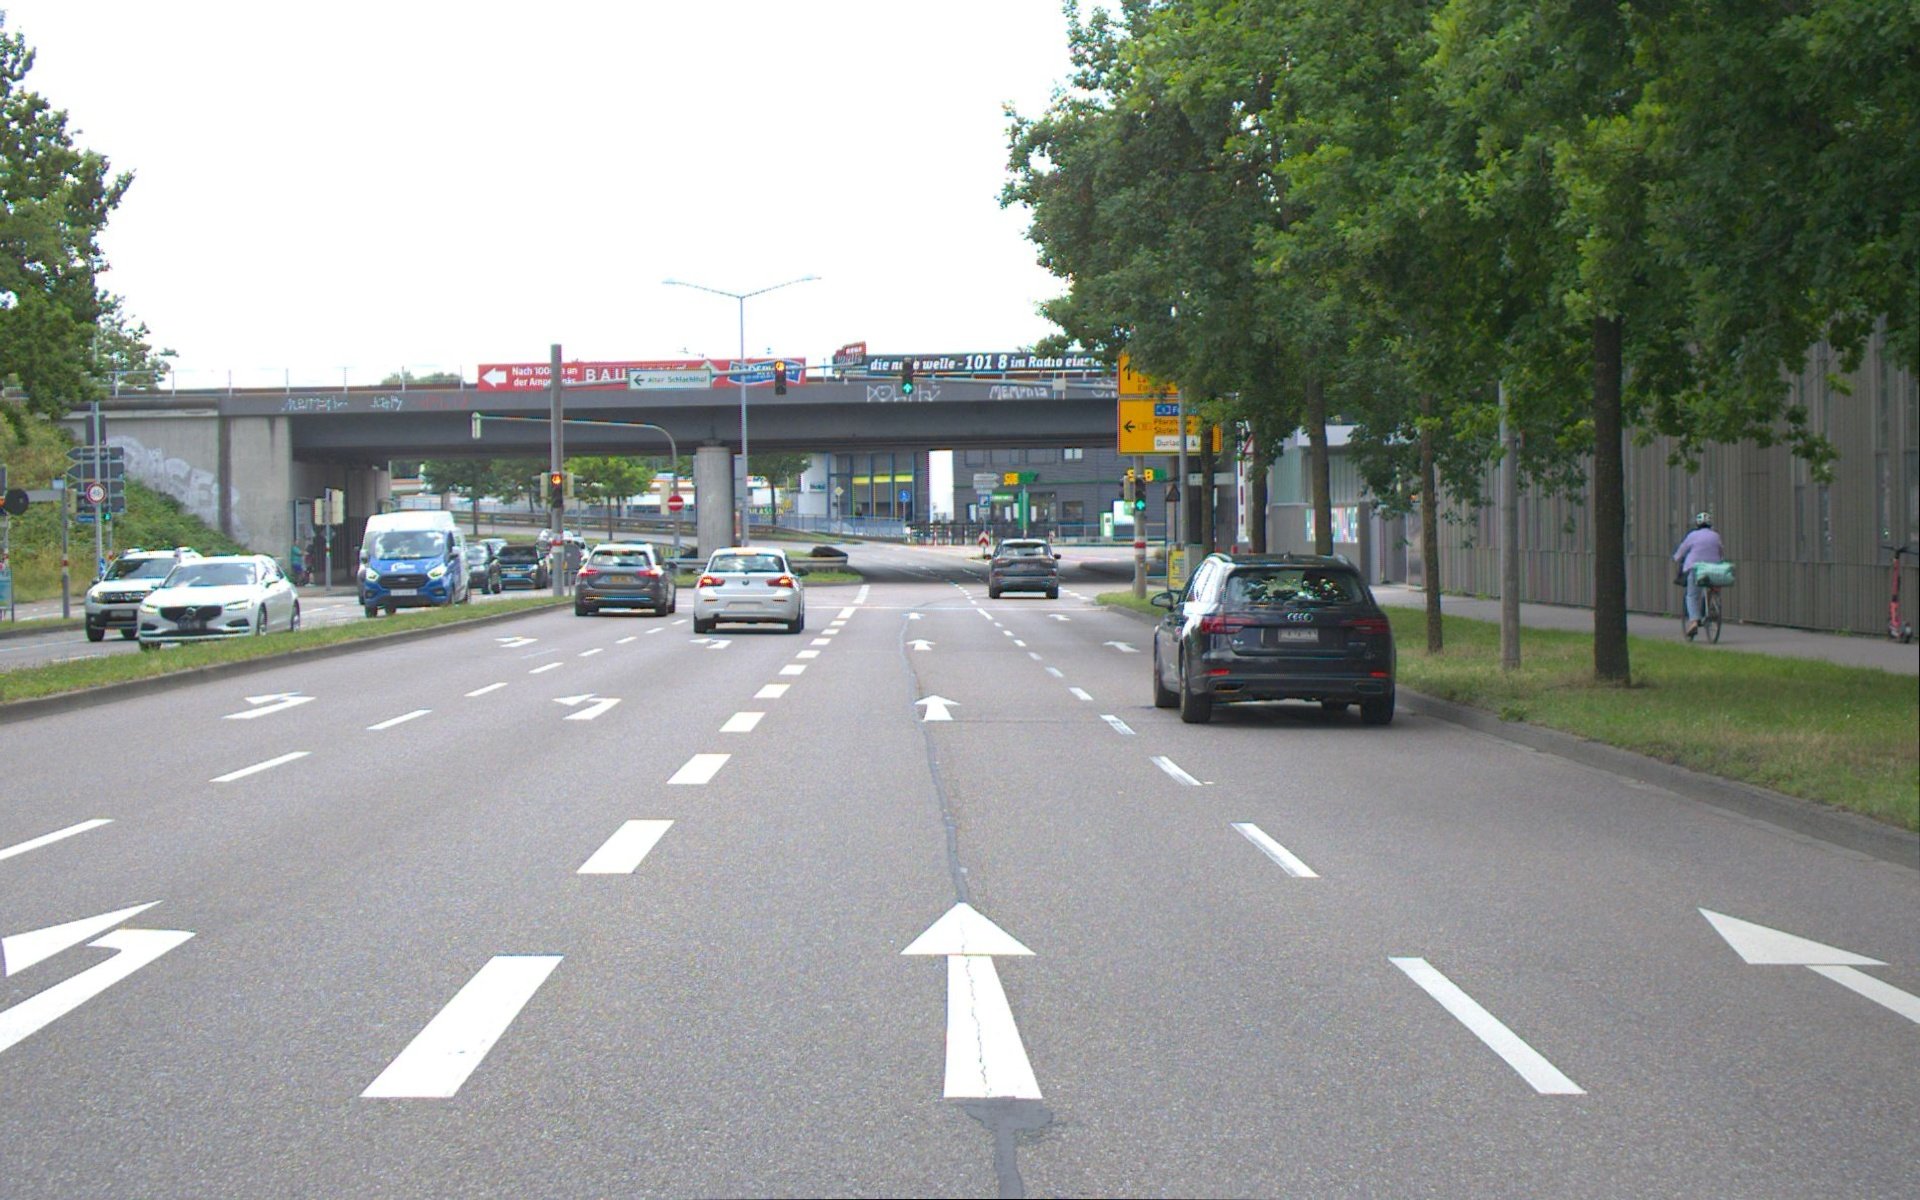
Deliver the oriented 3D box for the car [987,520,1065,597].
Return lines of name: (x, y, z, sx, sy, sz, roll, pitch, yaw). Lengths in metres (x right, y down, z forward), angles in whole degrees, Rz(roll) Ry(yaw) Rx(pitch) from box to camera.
car: (1.788, -1.141, 94.453, 1.993, 2.030, 4.713, -1, 1, 0)

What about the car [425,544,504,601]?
car: (-15.938, -0.896, 110.731, 1.993, 1.760, 4.220, -1, 1, -2)

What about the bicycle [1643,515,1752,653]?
bicycle: (9.812, -0.228, 45.834, 0.719, 1.768, 2.534, -1, 1, -4)

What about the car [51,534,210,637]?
car: (-15.402, -0.306, 64.020, 1.993, 1.795, 4.410, -1, 1, -2)

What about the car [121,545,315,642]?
car: (-11.655, -0.141, 54.345, 1.993, 1.426, 5.024, -1, 1, 0)

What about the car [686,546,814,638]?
car: (-3.526, -0.162, 58.296, 1.915, 1.410, 4.296, 2, 1, -1)

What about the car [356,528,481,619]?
car: (-12.315, -0.635, 78.475, 2.190, 1.957, 5.194, -1, 1, -2)

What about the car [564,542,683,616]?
car: (-6.768, -0.455, 69.656, 1.993, 1.410, 4.832, 1, 1, -1)

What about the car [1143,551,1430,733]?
car: (2.775, 0.310, 30.229, 1.993, 1.385, 4.576, 1, 2, -1)

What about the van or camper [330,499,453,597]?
van or camper: (-15.324, -1.427, 93.029, 2.351, 2.531, 7.065, 0, 1, -2)

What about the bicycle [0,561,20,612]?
bicycle: (-24.494, -0.340, 86.791, 0.822, 1.266, 2.393, 1, 1, 0)

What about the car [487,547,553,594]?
car: (-15.606, -1.071, 122.117, 1.806, 1.626, 4.393, -1, 1, -1)

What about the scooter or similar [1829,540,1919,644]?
scooter or similar: (11.521, -0.119, 42.824, 0.704, 1.242, 2.480, -2, 1, 0)

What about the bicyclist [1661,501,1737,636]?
bicyclist: (9.817, -0.426, 45.711, 0.715, 1.763, 0.989, -1, 1, -4)
